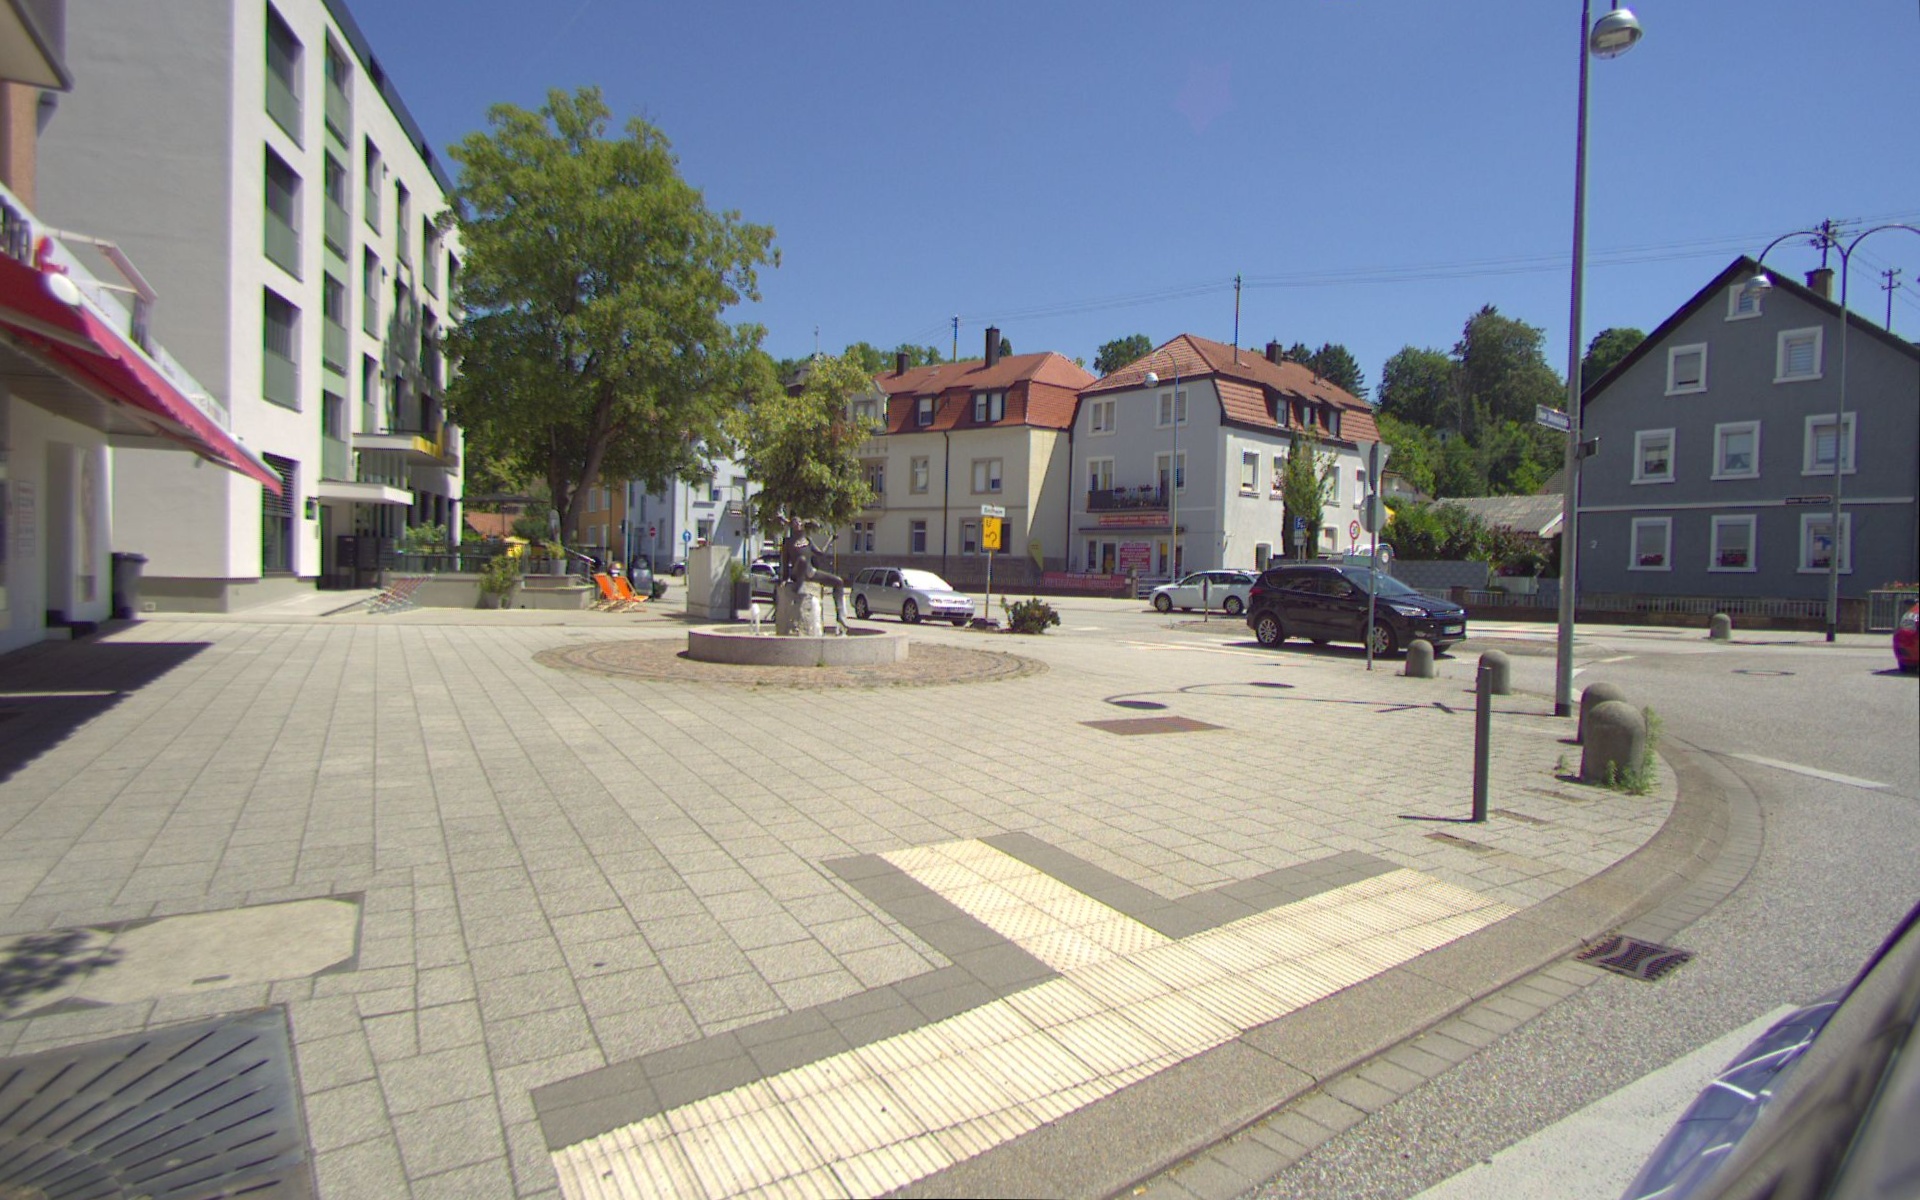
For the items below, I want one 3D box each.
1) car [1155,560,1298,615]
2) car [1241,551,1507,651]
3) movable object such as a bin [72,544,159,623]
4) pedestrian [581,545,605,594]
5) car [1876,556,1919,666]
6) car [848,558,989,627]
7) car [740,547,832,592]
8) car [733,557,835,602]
[{"bbox_3d":[8.930,-0.480,34.084,4.274,1.603,1.970,3,7,44],"label":"car"},{"bbox_3d":[7.922,-0.085,19.839,1.961,1.709,4.531,-1,3,-32],"label":"car"},{"bbox_3d":[-13.335,-0.274,15.995,0.757,1.169,0.763,3,2,-13],"label":"movable object such as a bin"},{"bbox_3d":[-12.700,-1.058,35.027,0.647,1.648,0.401,5,2,36],"label":"pedestrian"},{"bbox_3d":[15.554,0.179,14.852,3.918,1.552,1.837,1,1,-27],"label":"car"},{"bbox_3d":[-1.165,-0.245,26.824,1.767,1.609,4.001,2,1,-36],"label":"car"},{"bbox_3d":[-8.500,-1.512,49.406,4.264,1.887,1.973,5,2,37],"label":"car"},{"bbox_3d":[-6.897,-0.844,39.542,3.983,1.593,1.811,4,3,40],"label":"car"}]
